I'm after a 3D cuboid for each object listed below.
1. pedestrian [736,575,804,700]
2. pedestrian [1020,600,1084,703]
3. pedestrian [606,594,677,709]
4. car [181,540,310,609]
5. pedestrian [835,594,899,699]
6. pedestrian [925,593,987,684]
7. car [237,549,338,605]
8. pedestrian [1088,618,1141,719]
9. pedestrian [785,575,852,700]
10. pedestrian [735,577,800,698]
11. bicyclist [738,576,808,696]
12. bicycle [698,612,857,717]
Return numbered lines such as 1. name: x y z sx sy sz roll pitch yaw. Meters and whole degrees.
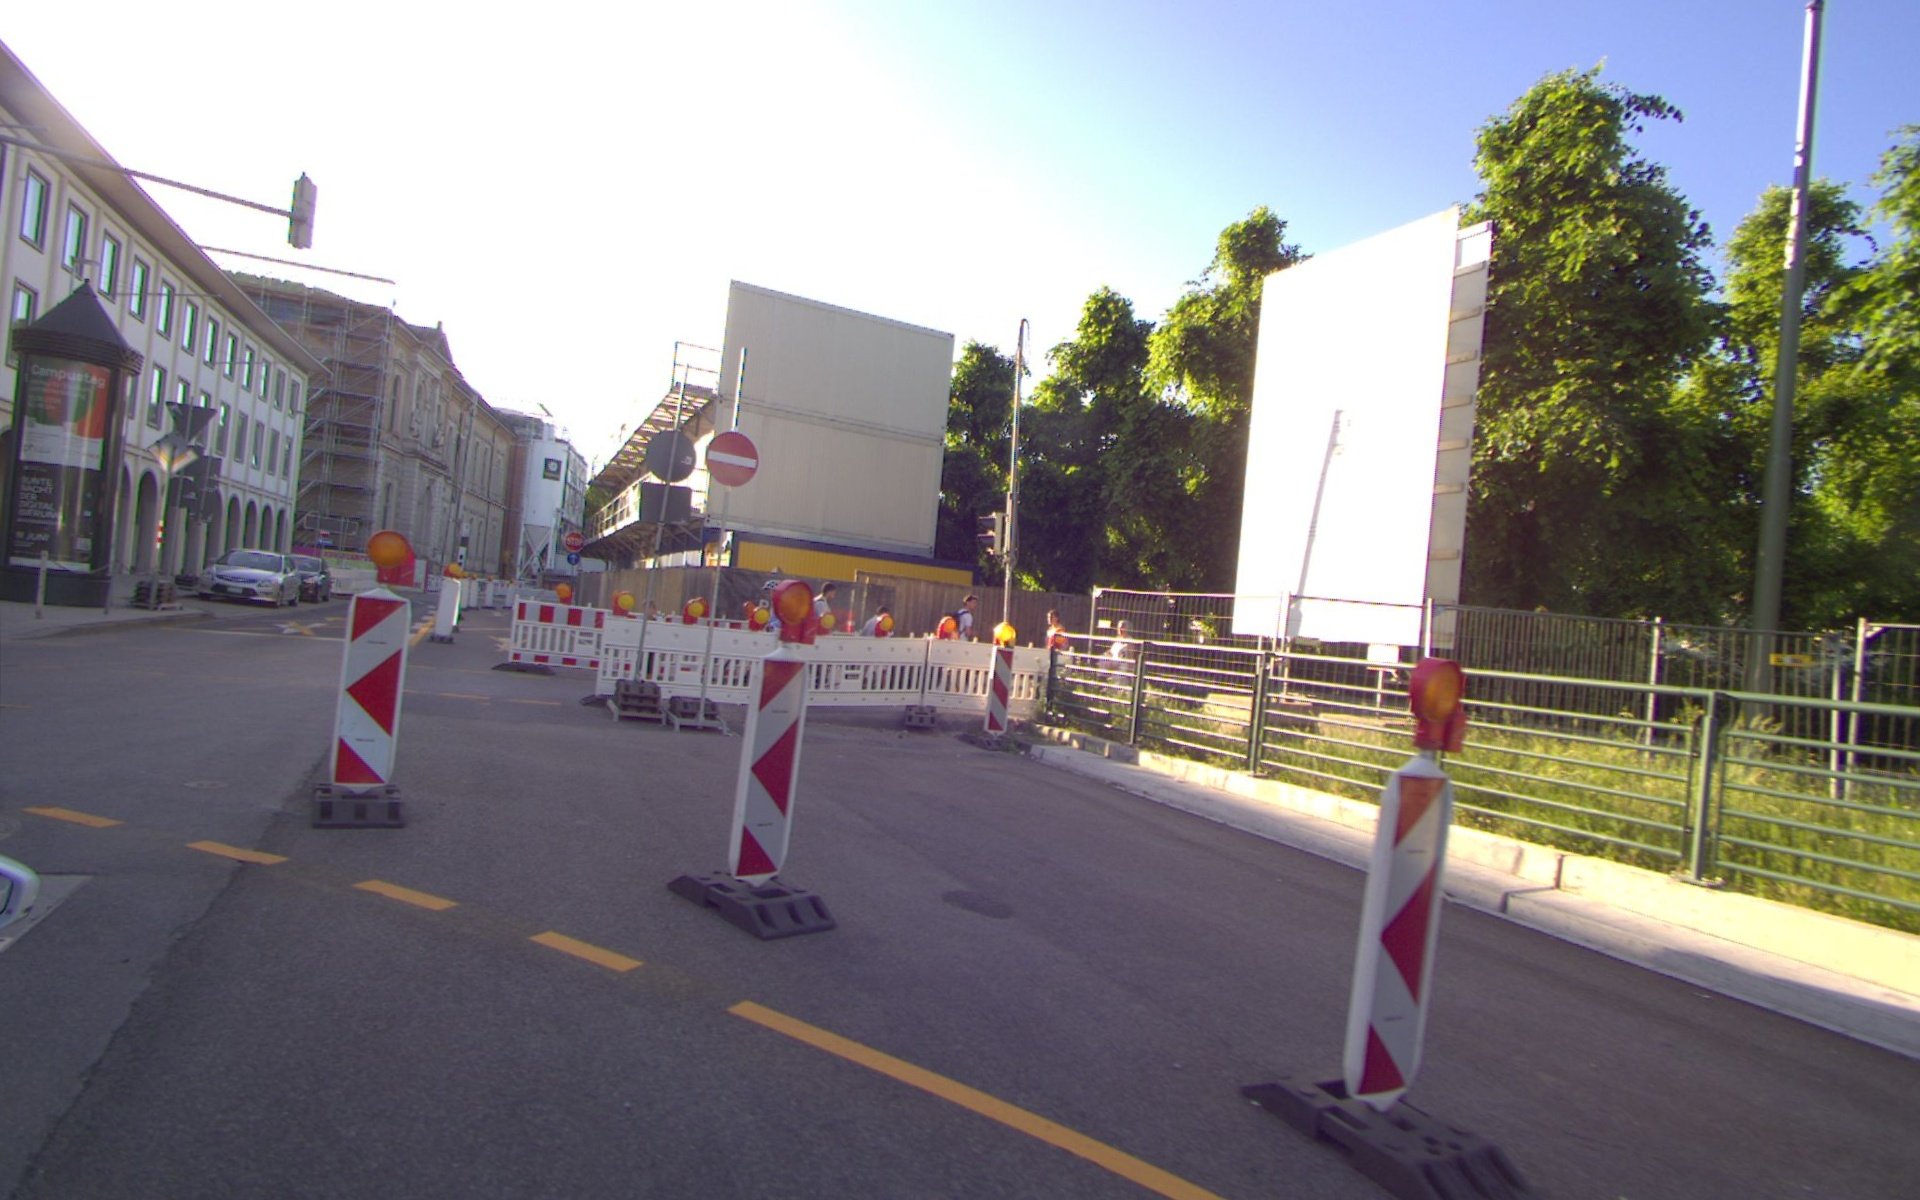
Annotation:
1. pedestrian: -2.764 0.534 14.589 0.729 1.738 0.618 4 1 -24
2. pedestrian: 1.536 0.857 16.816 0.729 1.624 0.640 4 1 -24
3. pedestrian: -3.943 0.636 12.446 0.612 1.315 0.491 8 -1 -25
4. car: -19.425 -0.625 27.554 1.906 1.482 3.982 8 -3 -23
5. pedestrian: -1.537 0.765 16.622 0.760 1.639 0.662 4 1 -24
6. pedestrian: -0.069 0.666 17.444 0.760 1.481 0.662 4 1 -24
7. car: -22.178 -0.712 33.366 1.906 1.482 3.982 8 -3 -23
8. pedestrian: 2.586 1.127 16.809 0.653 1.586 0.745 5 1 16
9. pedestrian: -2.125 0.559 15.089 0.729 1.794 0.618 4 1 -24
10. pedestrian: -3.005 0.572 15.683 0.729 1.794 0.719 4 1 -24
11. bicyclist: -2.553 0.481 13.714 0.694 1.534 0.683 6 0 -20
12. bicycle: -2.474 0.882 13.694 1.971 1.215 0.475 7 -1 -21
